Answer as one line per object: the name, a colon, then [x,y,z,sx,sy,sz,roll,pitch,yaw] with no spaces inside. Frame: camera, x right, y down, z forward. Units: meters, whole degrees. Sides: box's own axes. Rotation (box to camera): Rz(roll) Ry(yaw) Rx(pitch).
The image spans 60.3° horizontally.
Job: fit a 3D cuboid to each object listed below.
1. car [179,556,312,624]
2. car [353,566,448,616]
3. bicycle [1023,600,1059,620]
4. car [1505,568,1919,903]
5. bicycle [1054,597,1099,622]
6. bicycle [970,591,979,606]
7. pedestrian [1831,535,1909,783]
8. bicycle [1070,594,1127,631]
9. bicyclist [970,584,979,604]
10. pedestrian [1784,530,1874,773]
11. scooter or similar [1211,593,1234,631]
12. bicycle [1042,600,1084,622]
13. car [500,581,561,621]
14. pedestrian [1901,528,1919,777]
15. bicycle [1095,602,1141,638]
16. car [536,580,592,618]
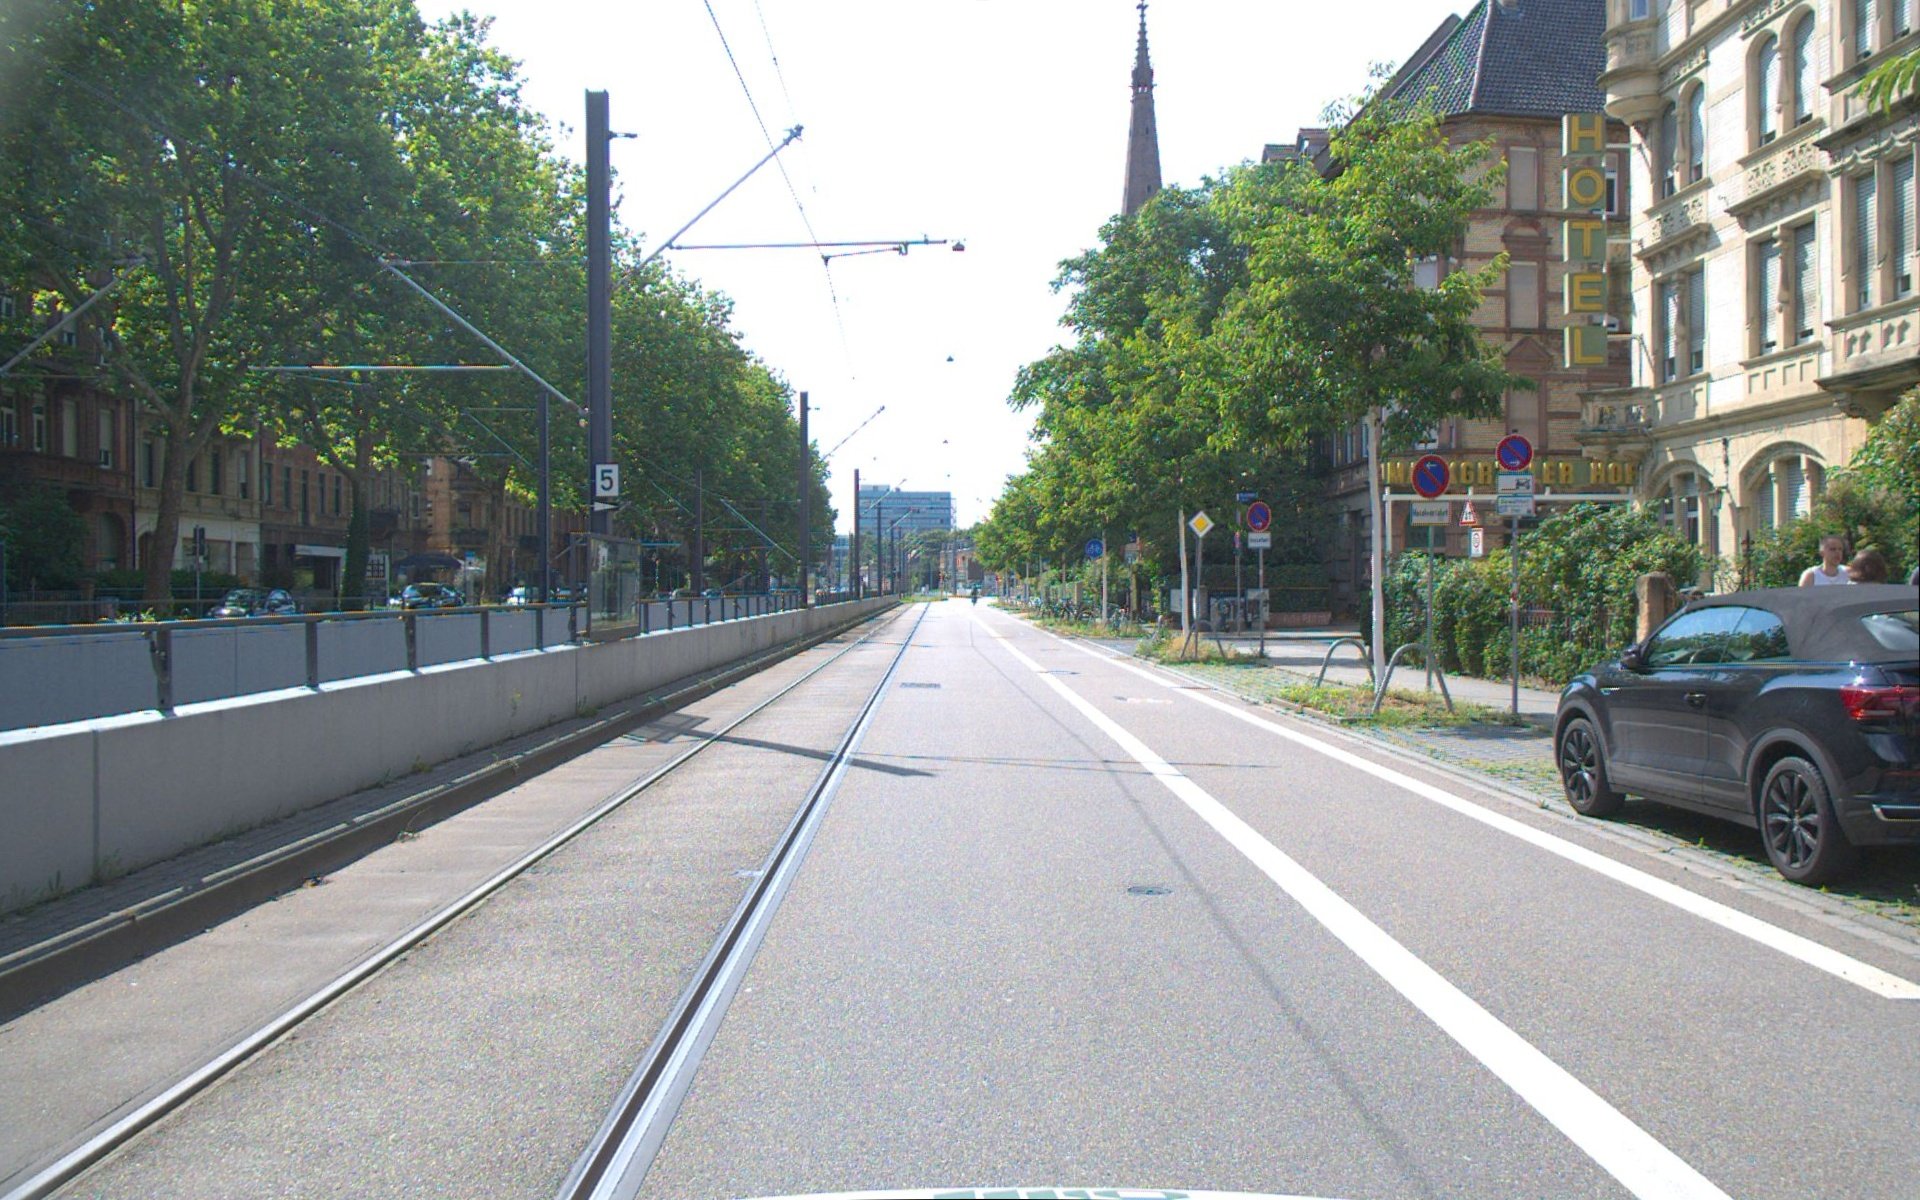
car: [-19.434,-0.317,45.163,1.682,1.720,3.732,-2,1,5]
car: [-20.292,-0.345,60.123,1.952,1.665,4.001,-3,1,1]
bicycle: [4.159,0.499,85.150,1.780,0.918,0.603,-3,1,-4]
car: [5.139,0.614,10.198,1.763,1.553,4.485,-2,1,-4]
bicycle: [4.840,0.393,68.960,1.780,0.918,0.651,-3,1,-4]
bicycle: [1.247,-0.138,141.472,0.783,1.258,2.777,0,0,0]
pedestrian: [6.530,0.416,11.878,0.311,1.736,0.461,-3,0,13]
bicycle: [4.713,0.418,56.316,1.784,1.165,0.650,-3,1,-12]
bicyclist: [1.242,-0.503,141.422,0.755,1.760,1.026,0,0,0]
pedestrian: [6.720,0.389,12.800,0.450,1.836,0.319,-3,0,-3]
scooter or similar: [8.334,0.373,52.508,0.451,1.178,1.573,-1,0,0]
bicycle: [4.606,0.482,73.892,1.780,0.918,0.603,-3,1,-4]
car: [-20.316,0.032,78.313,1.801,1.758,4.000,-3,1,-1]
pedestrian: [7.378,0.375,12.177,0.656,1.836,0.319,-3,0,-3]
bicycle: [4.876,0.617,51.145,0.640,1.057,1.810,-3,1,-22]
car: [-19.753,-0.051,82.605,1.801,1.758,4.000,-3,1,-1]
